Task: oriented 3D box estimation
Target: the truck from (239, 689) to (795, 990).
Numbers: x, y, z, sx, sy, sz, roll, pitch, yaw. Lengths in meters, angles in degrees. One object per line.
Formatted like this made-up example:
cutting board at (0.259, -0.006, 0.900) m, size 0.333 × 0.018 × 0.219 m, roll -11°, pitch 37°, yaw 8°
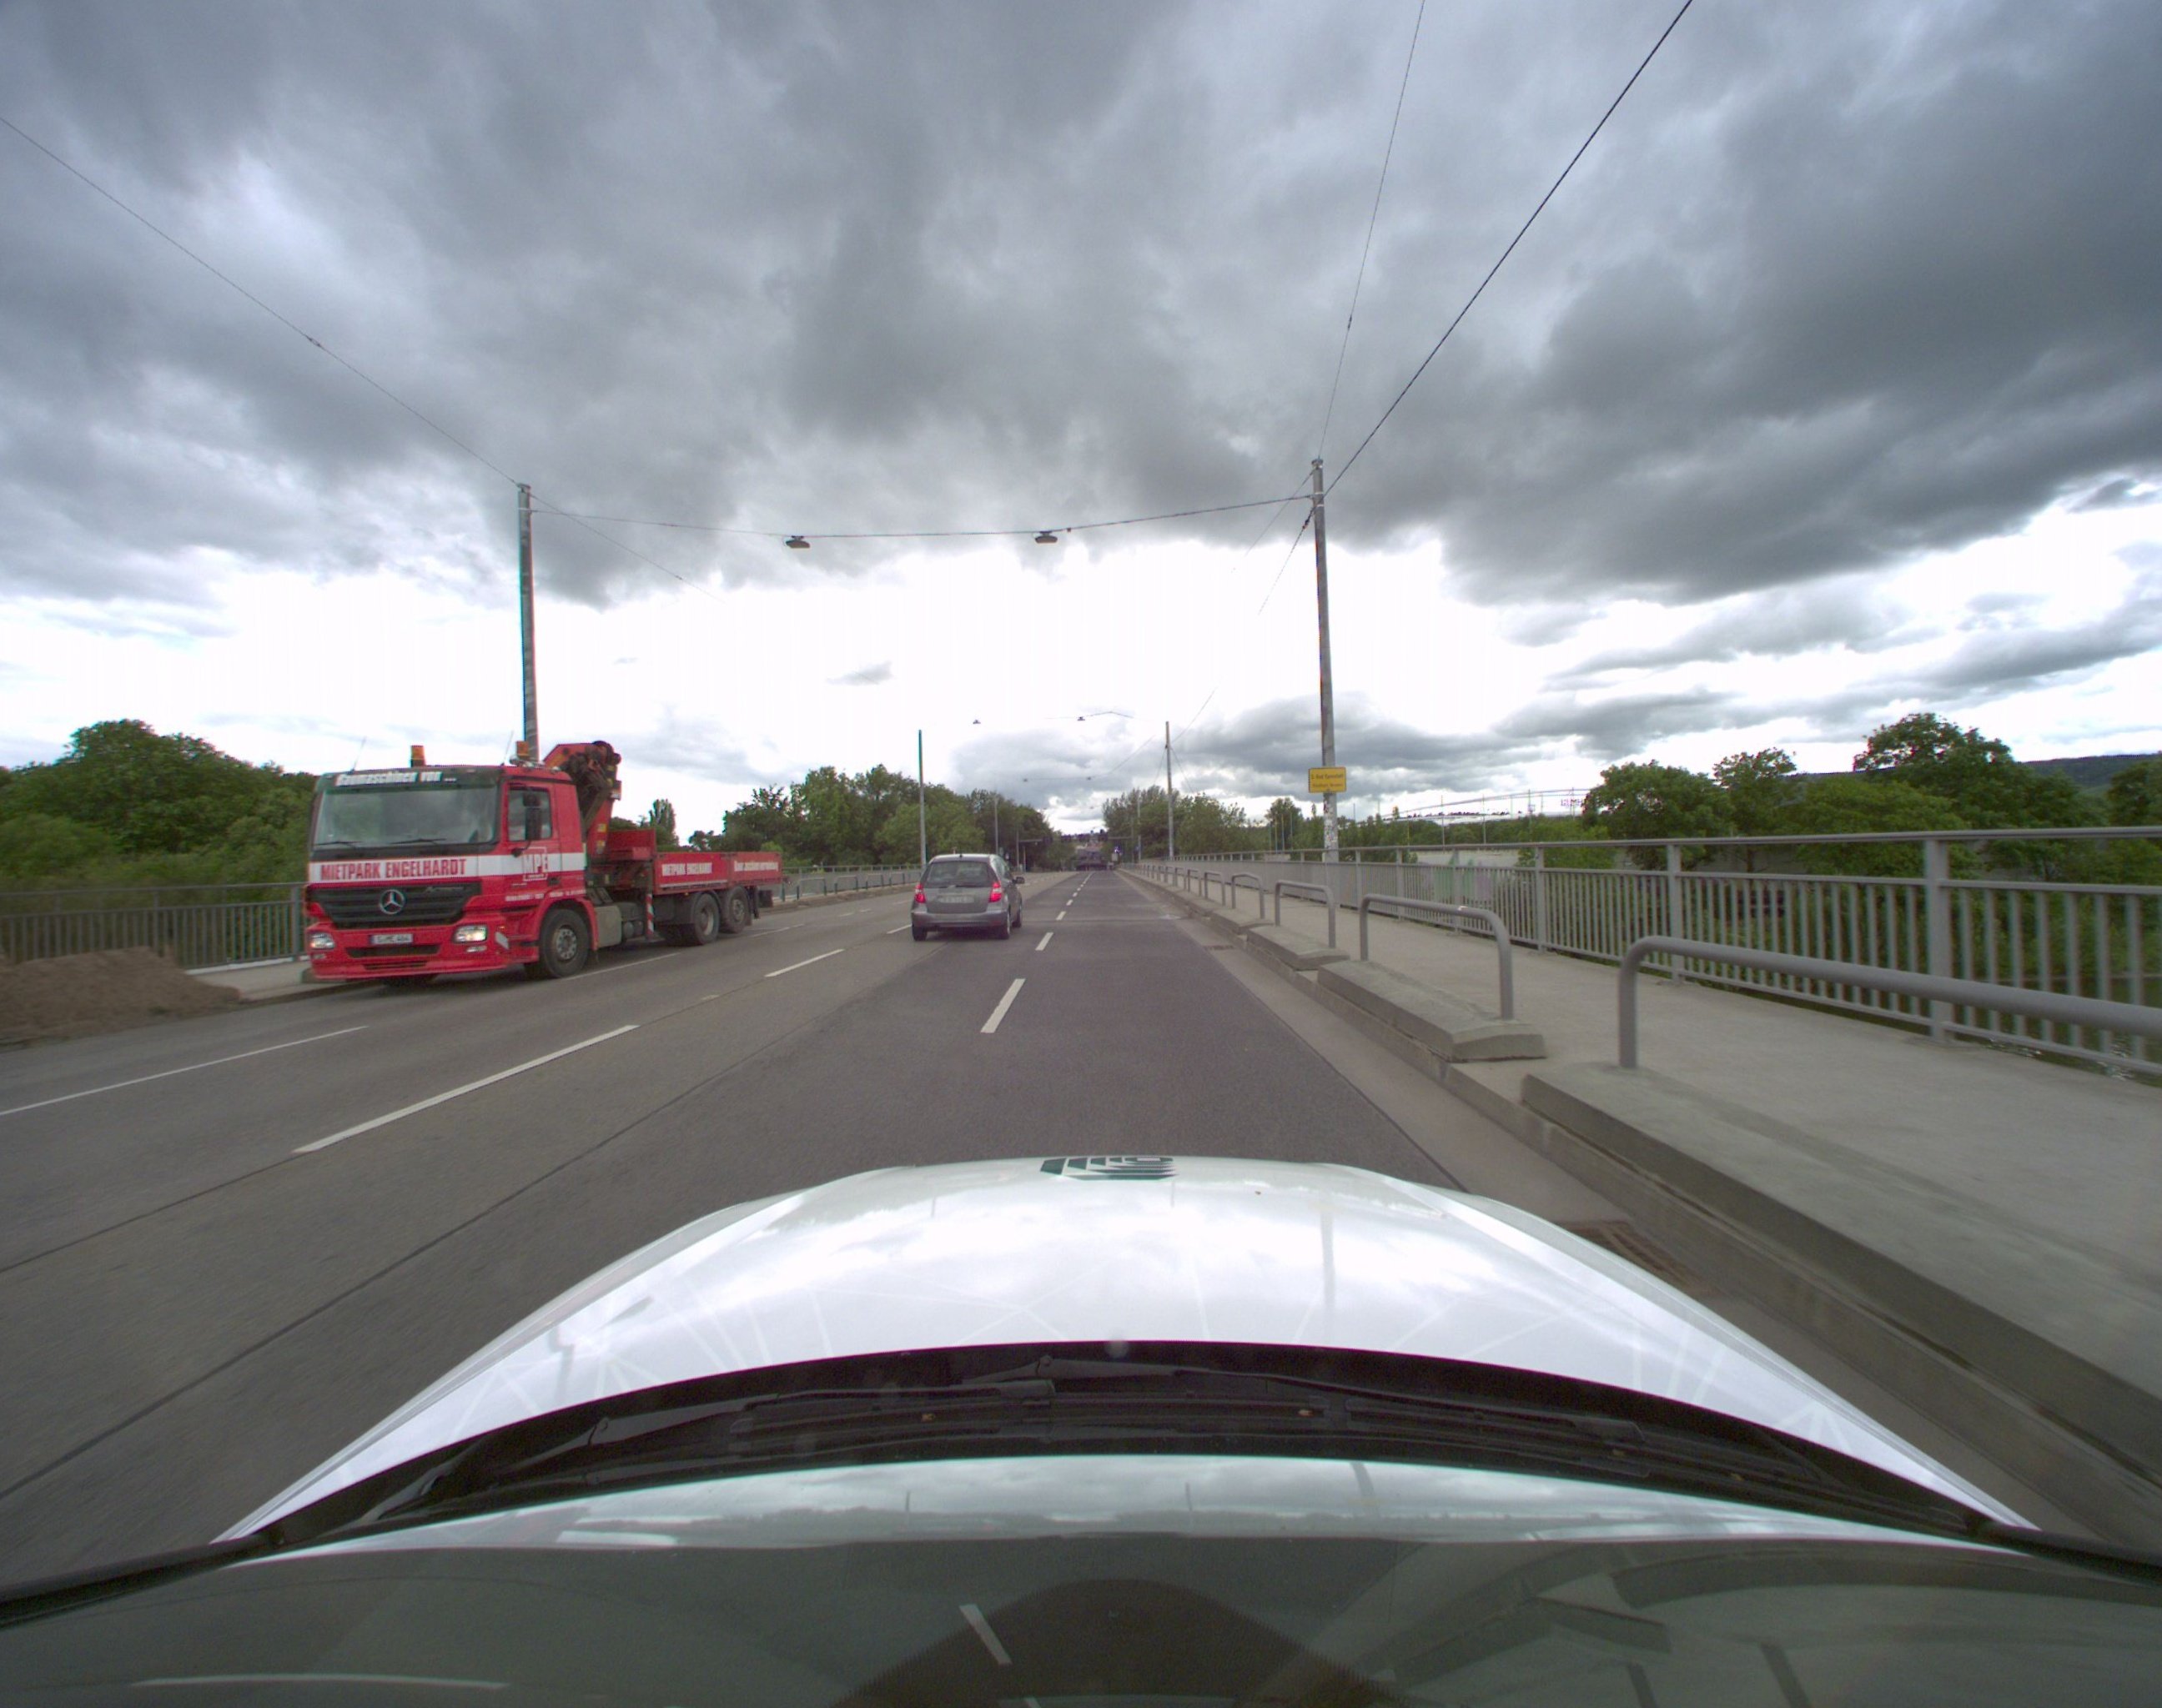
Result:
truck at (-8.702, -0.198, 15.016) m, size 2.995 × 3.565 × 9.984 m, roll -3°, pitch 0°, yaw 1°

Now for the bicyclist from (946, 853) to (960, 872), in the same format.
bicyclist at (-11.757, 0.764, 74.726) m, size 1.130 × 1.764 × 0.904 m, roll -1°, pitch -1°, yaw -4°

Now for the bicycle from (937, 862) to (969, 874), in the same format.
bicycle at (-11.720, 1.269, 74.728) m, size 2.785 × 1.051 × 0.919 m, roll -1°, pitch -1°, yaw -4°

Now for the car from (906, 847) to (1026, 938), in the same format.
car at (-2.125, 0.667, 16.048) m, size 1.739 × 1.550 × 3.872 m, roll -1°, pitch 0°, yaw 1°
